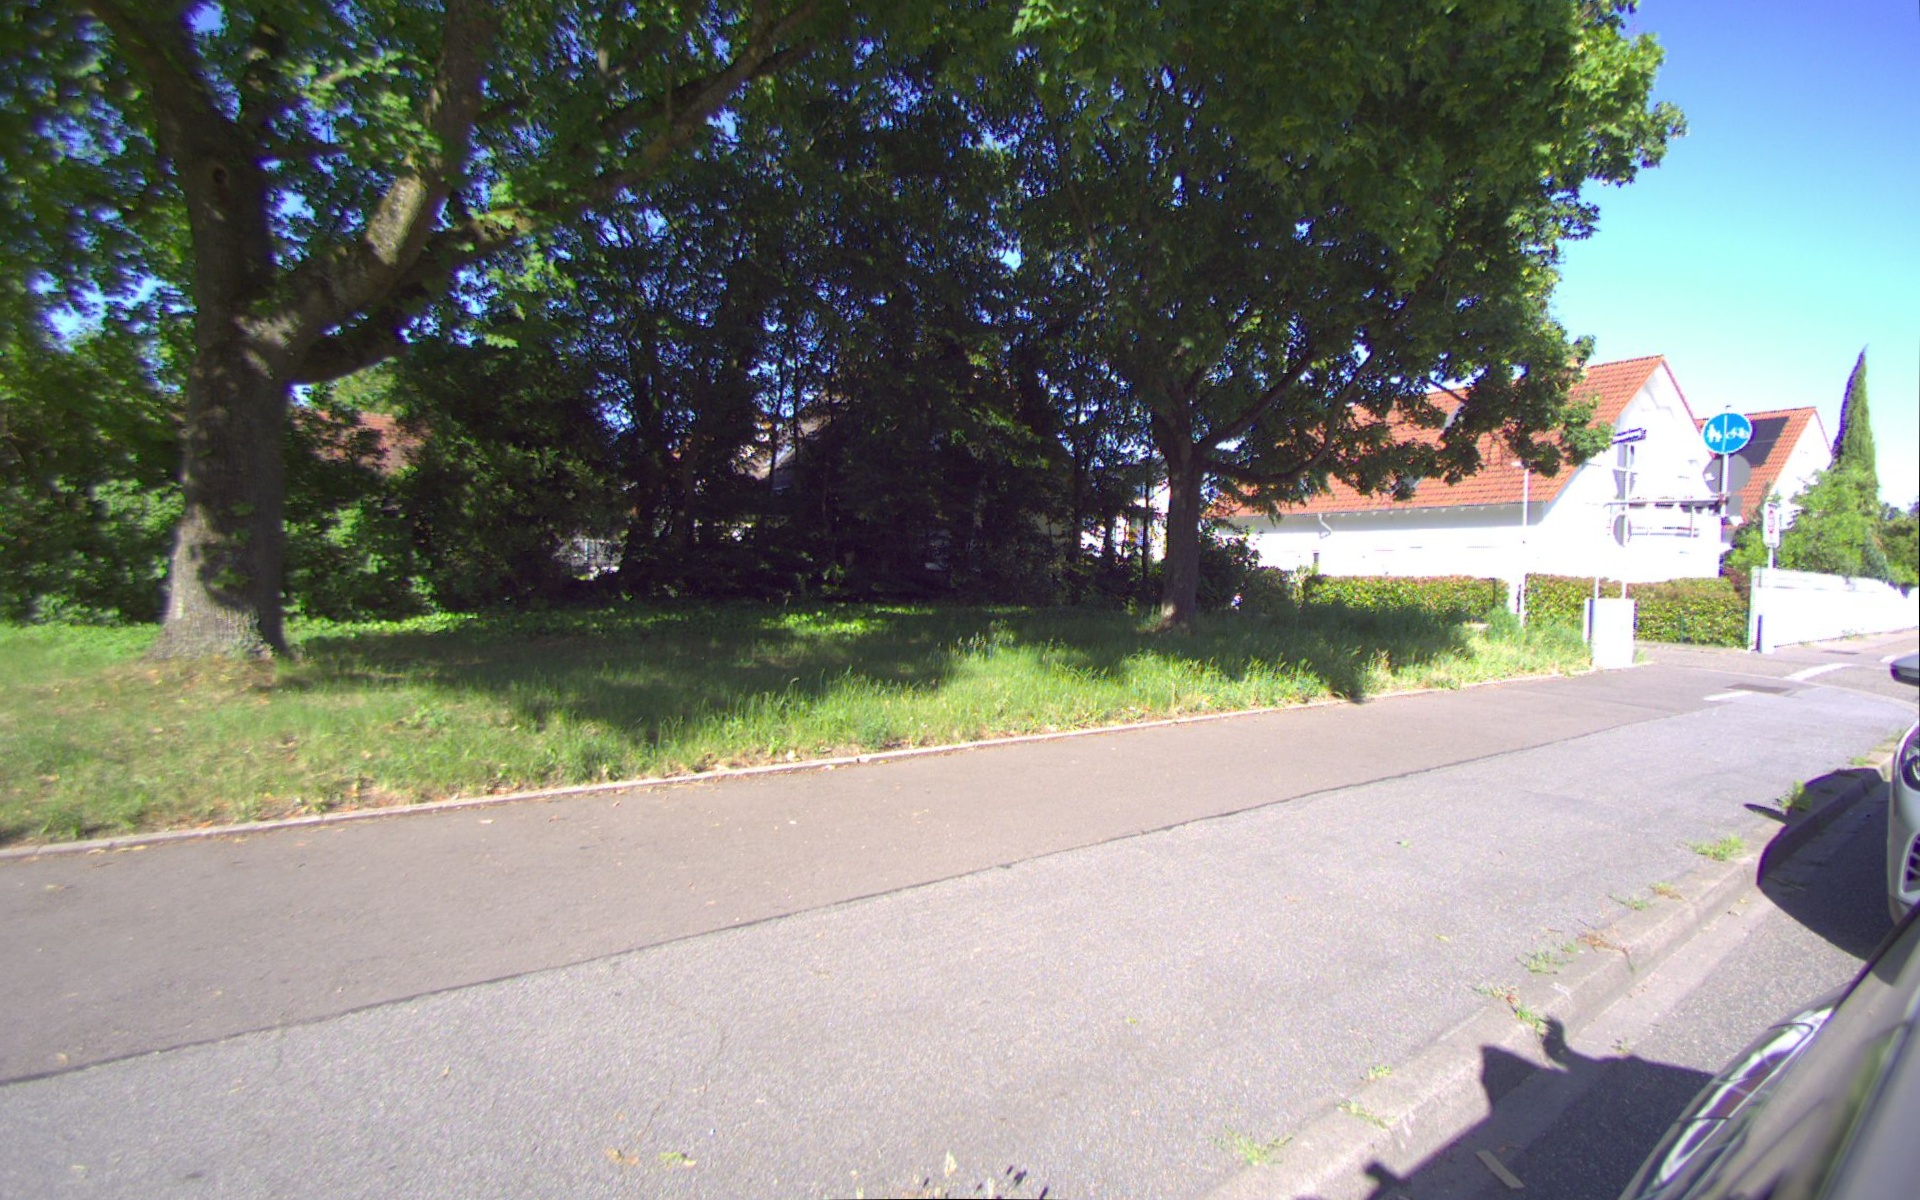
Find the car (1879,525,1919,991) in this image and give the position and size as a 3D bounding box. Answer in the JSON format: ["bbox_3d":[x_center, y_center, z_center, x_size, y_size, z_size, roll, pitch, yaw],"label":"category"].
[{"bbox_3d":[5.631,0.603,4.432,4.133,1.710,1.857,-1,3,-41],"label":"car"}]
